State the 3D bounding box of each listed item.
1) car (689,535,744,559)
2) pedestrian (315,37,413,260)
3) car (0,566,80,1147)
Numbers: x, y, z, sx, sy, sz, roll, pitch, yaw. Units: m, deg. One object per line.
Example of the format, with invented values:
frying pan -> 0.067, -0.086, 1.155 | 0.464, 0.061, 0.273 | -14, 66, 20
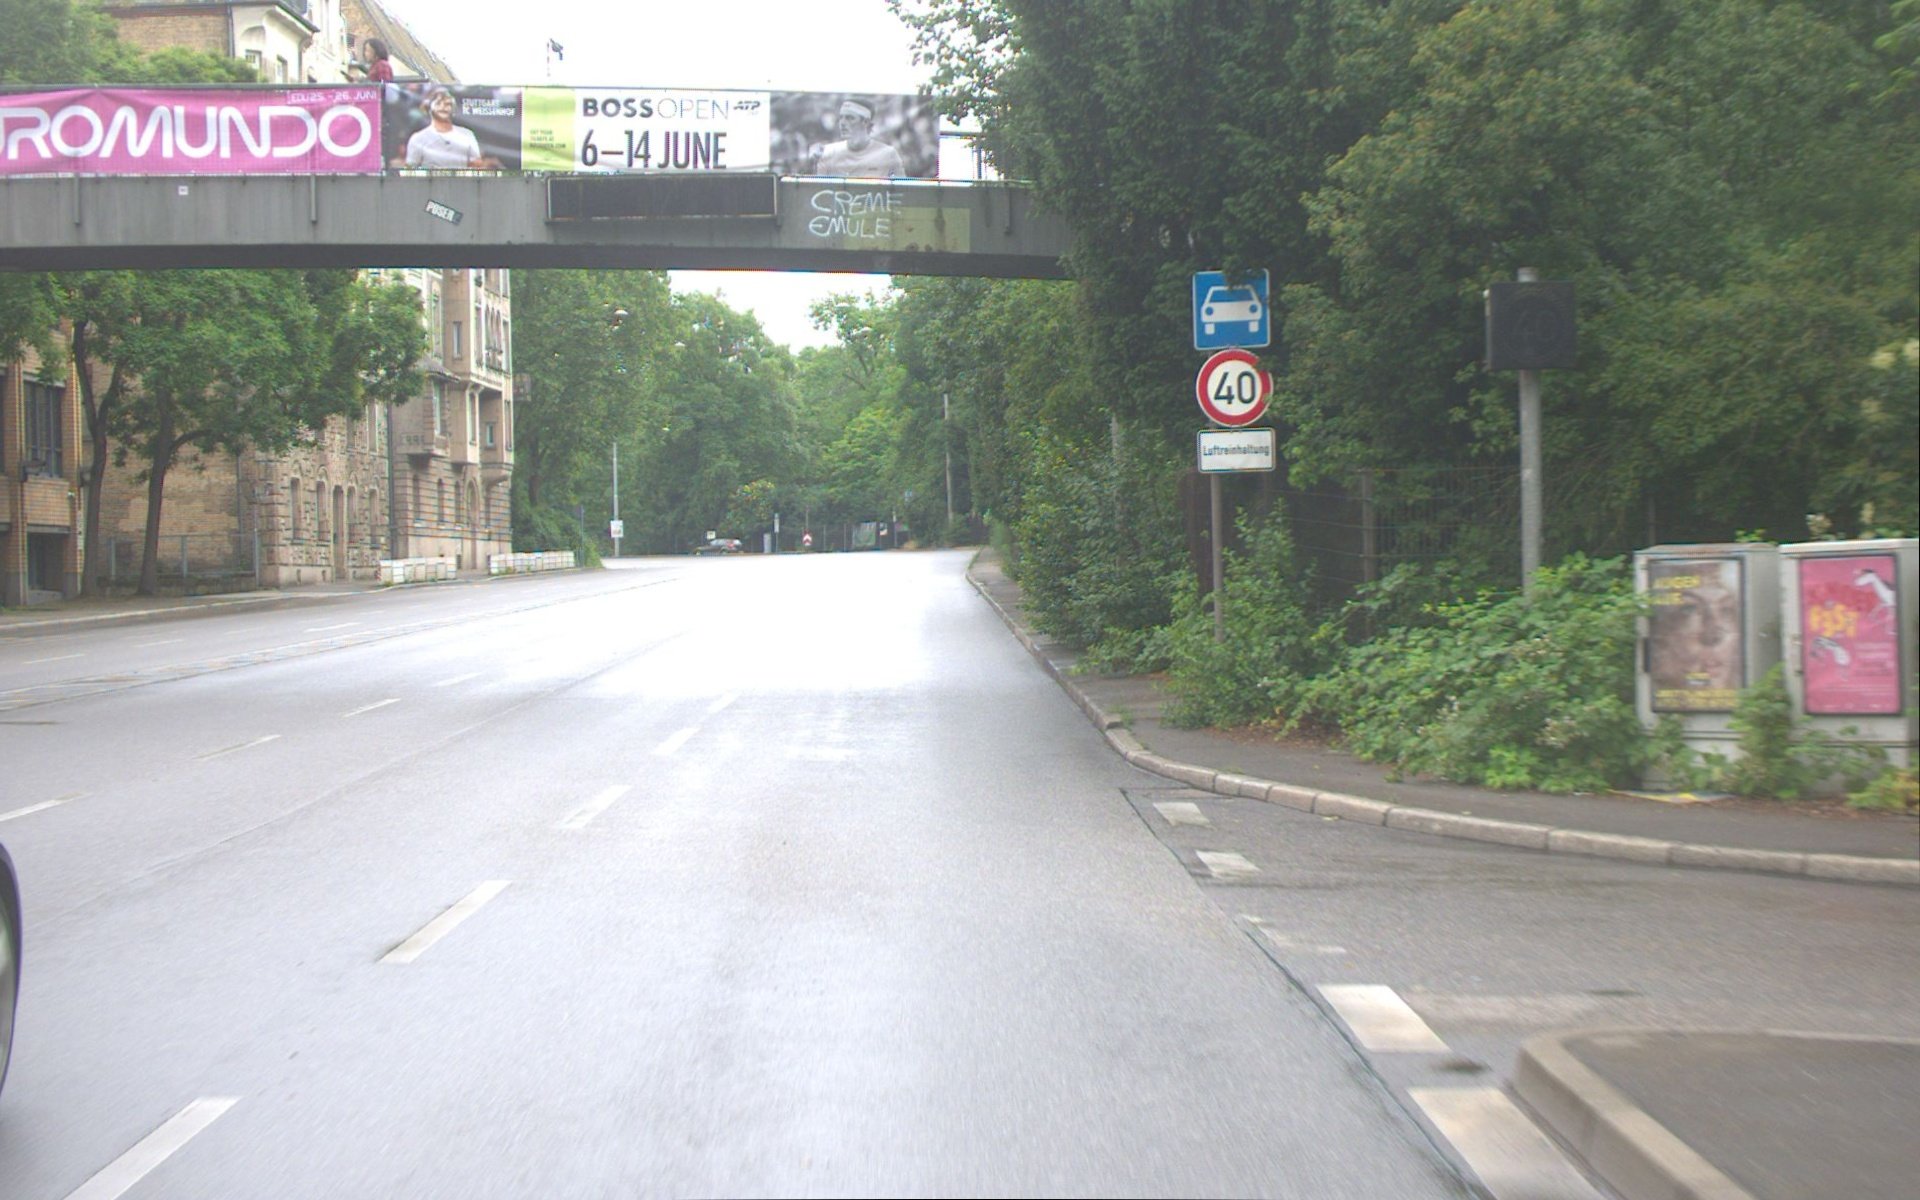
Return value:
car -> -16.653, -3.635, 235.459 | 3.587, 1.542, 1.613 | 2, 1, 2
pedestrian -> -6.665, -5.035, 38.510 | 0.954, 2.337, 1.007 | 2, 0, -6
car -> -3.295, 0.655, 7.076 | 1.776, 1.453, 4.478 | 1, 1, 0
